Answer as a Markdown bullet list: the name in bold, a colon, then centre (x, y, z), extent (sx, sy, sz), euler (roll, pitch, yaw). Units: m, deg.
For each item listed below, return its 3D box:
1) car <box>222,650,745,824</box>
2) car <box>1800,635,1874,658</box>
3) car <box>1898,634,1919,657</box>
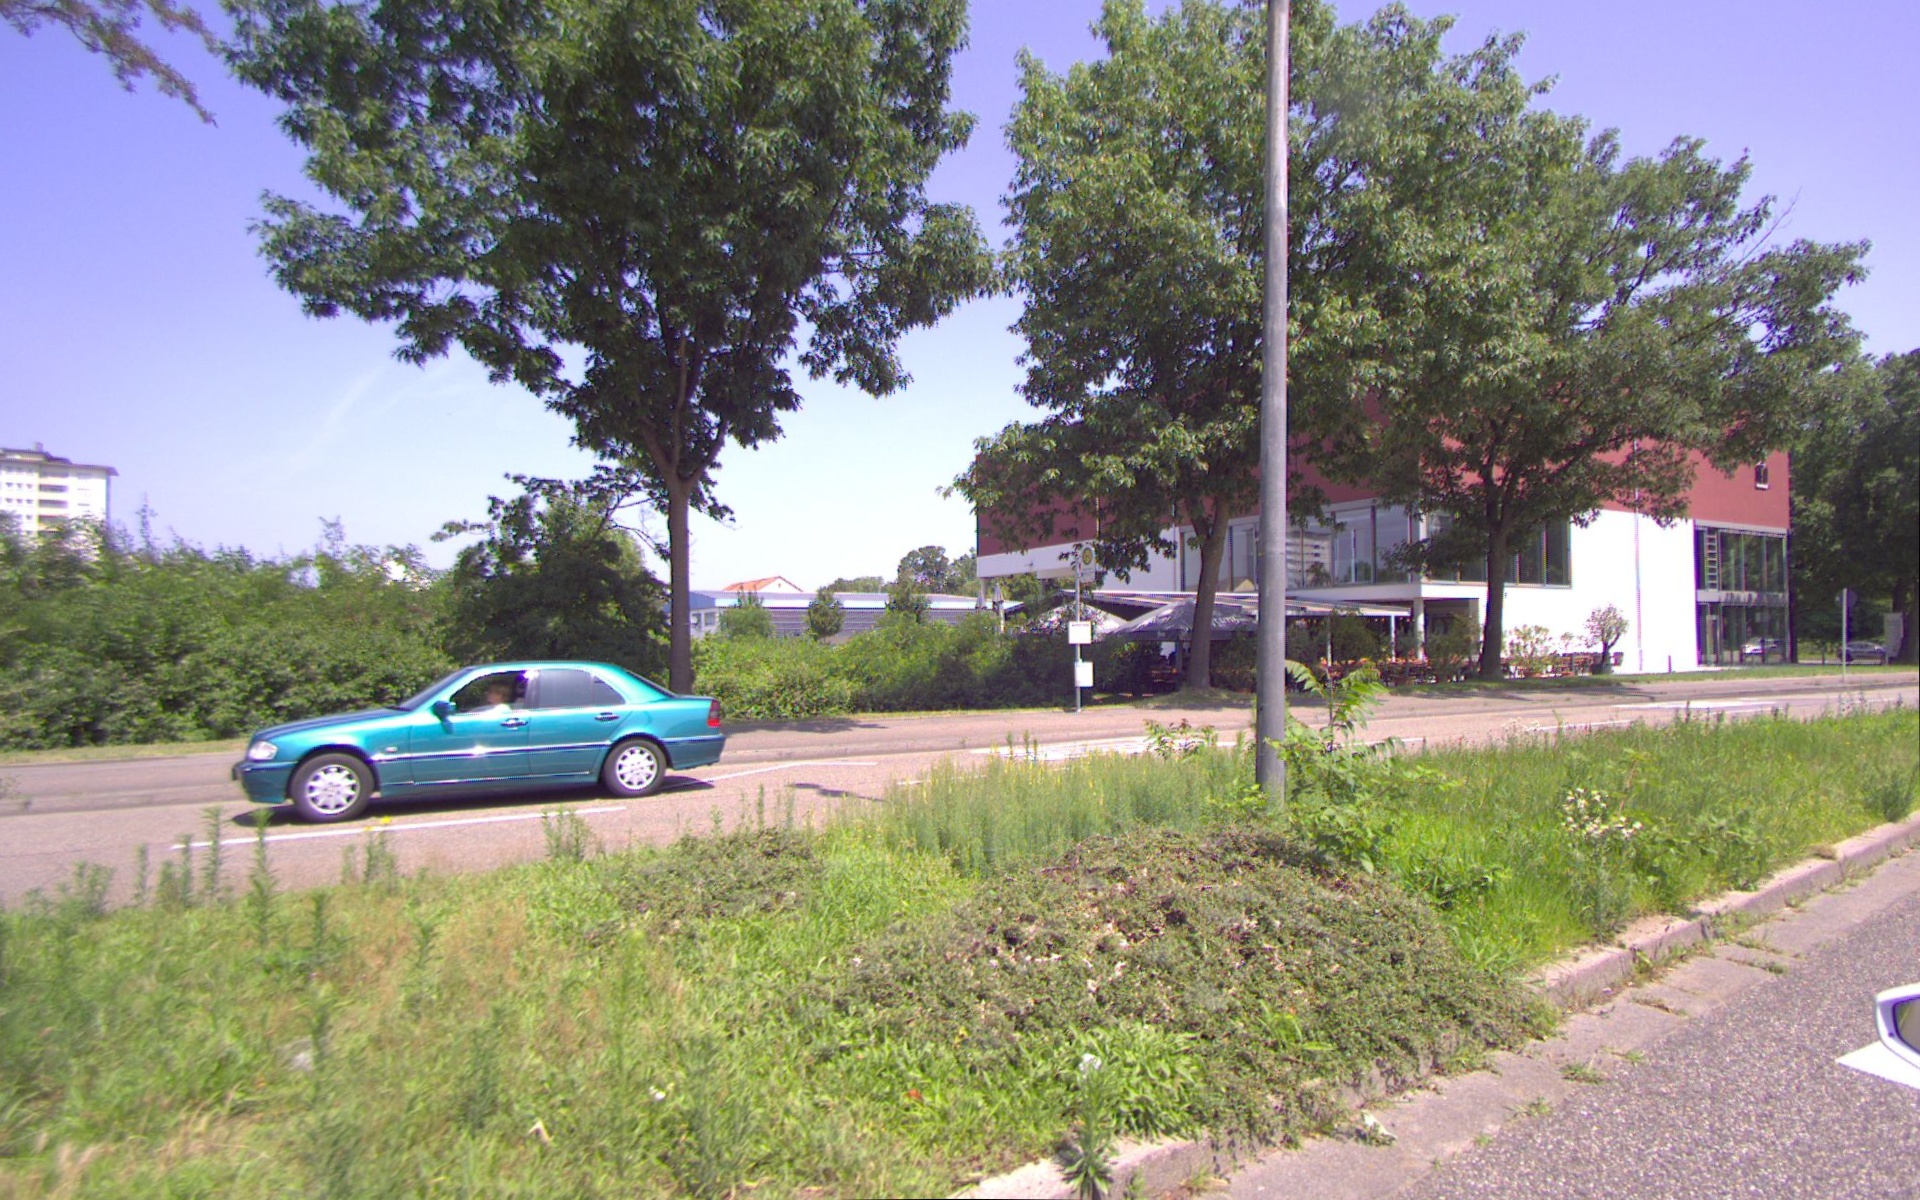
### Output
- **car**: centre (-4.683, 1.276, 10.365), extent (4.535, 1.405, 1.678), euler (1, -5, -31)
- **car**: centre (71.451, 3.806, 81.917), extent (1.795, 1.703, 4.335), euler (2, -1, -39)
- **car**: centre (72.100, 3.401, 73.837), extent (1.793, 1.704, 4.340), euler (2, -1, -36)
